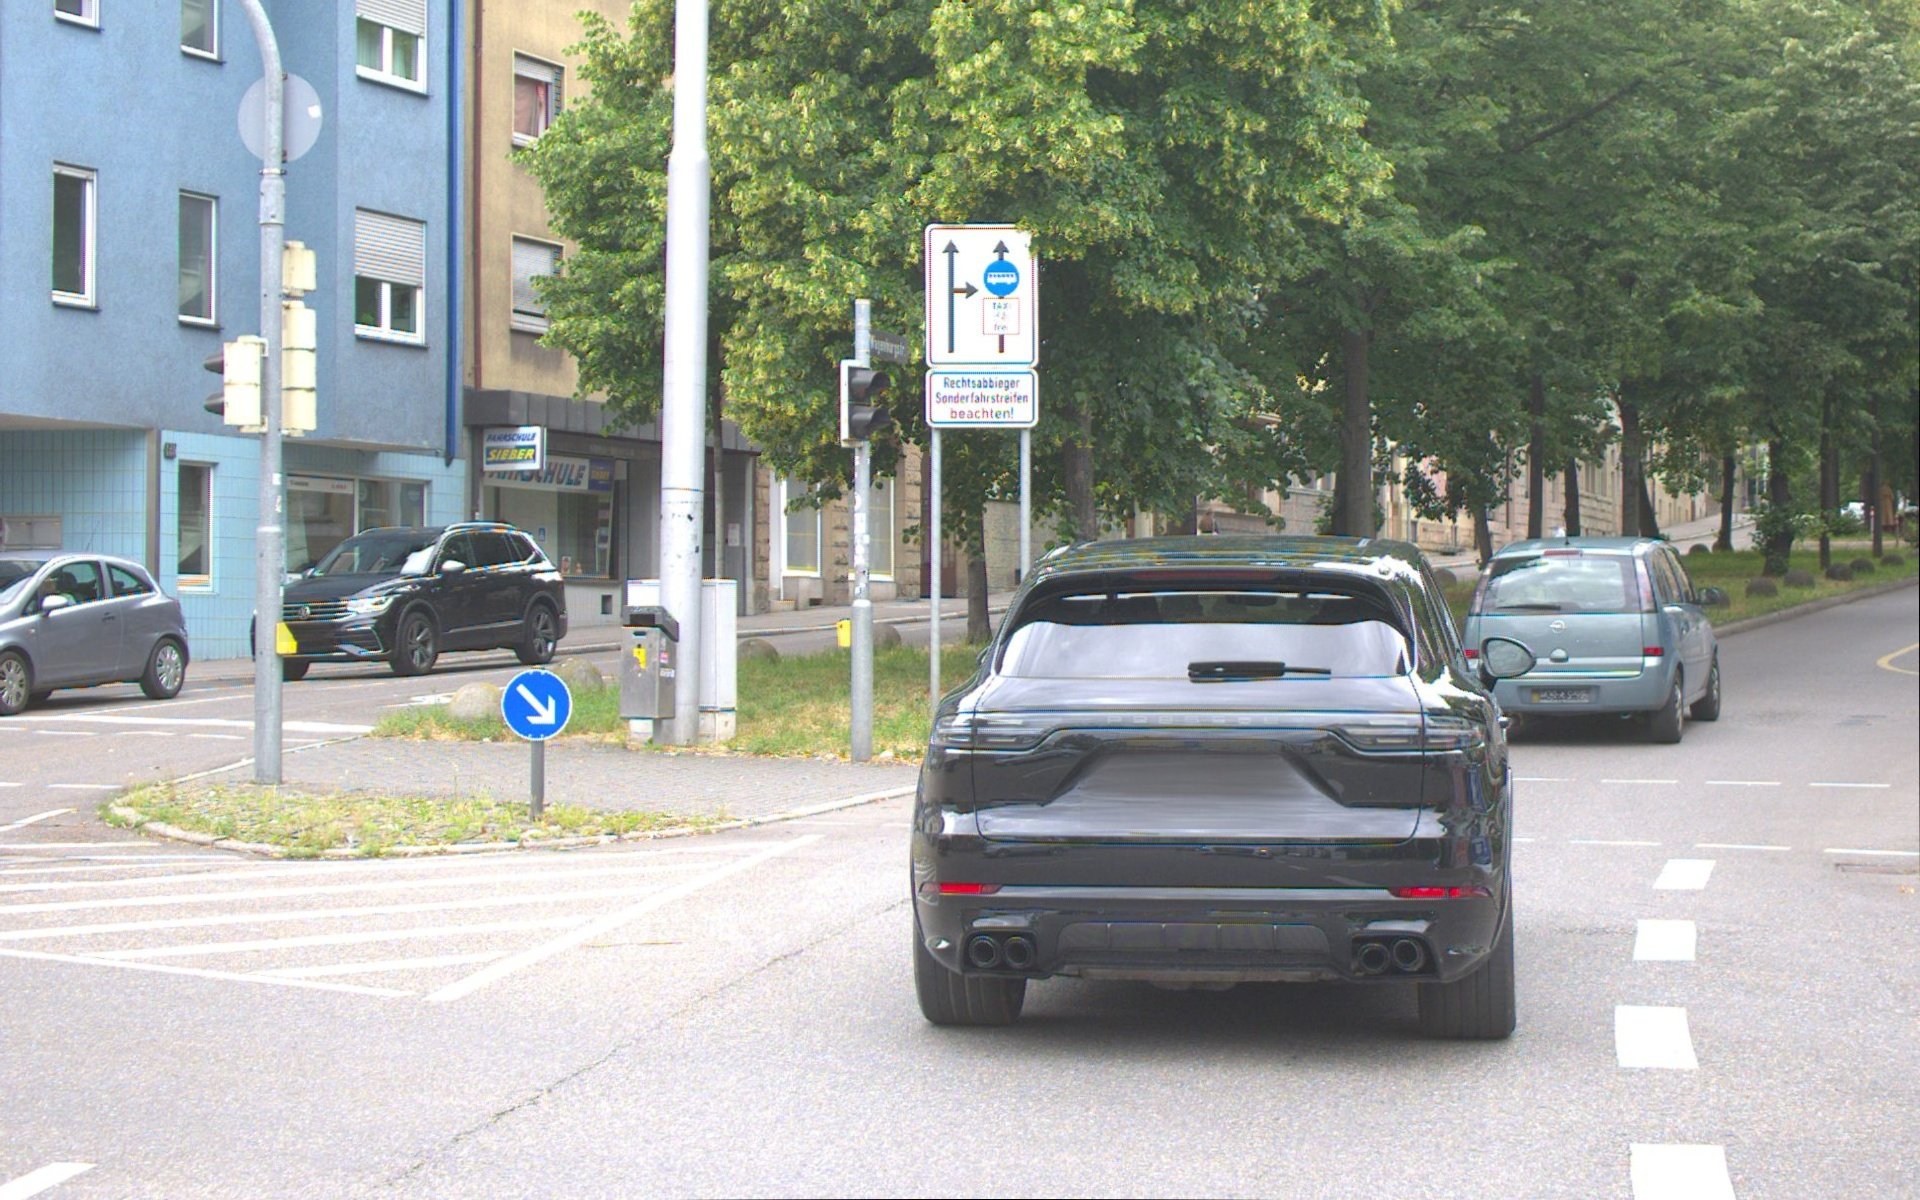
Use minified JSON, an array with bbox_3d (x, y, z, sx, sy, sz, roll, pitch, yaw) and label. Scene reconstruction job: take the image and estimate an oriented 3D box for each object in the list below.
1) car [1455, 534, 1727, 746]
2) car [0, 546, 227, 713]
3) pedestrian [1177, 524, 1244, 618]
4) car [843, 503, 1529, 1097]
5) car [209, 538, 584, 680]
[{"bbox_3d":[5.149,0.305,27.752,1.650,1.550,3.579,2,0,18],"label":"car"},{"bbox_3d":[-8.737,0.261,31.802,1.718,1.471,4.214,-1,0,23],"label":"car"},{"bbox_3d":[5.453,-0.628,74.745,1.193,2.007,0.988,1,1,20],"label":"pedestrian"},{"bbox_3d":[1.034,0.579,12.647,2.032,1.717,4.498,2,1,9],"label":"car"},{"bbox_3d":[-6.210,0.056,38.468,1.872,1.411,4.693,0,2,24],"label":"car"}]
